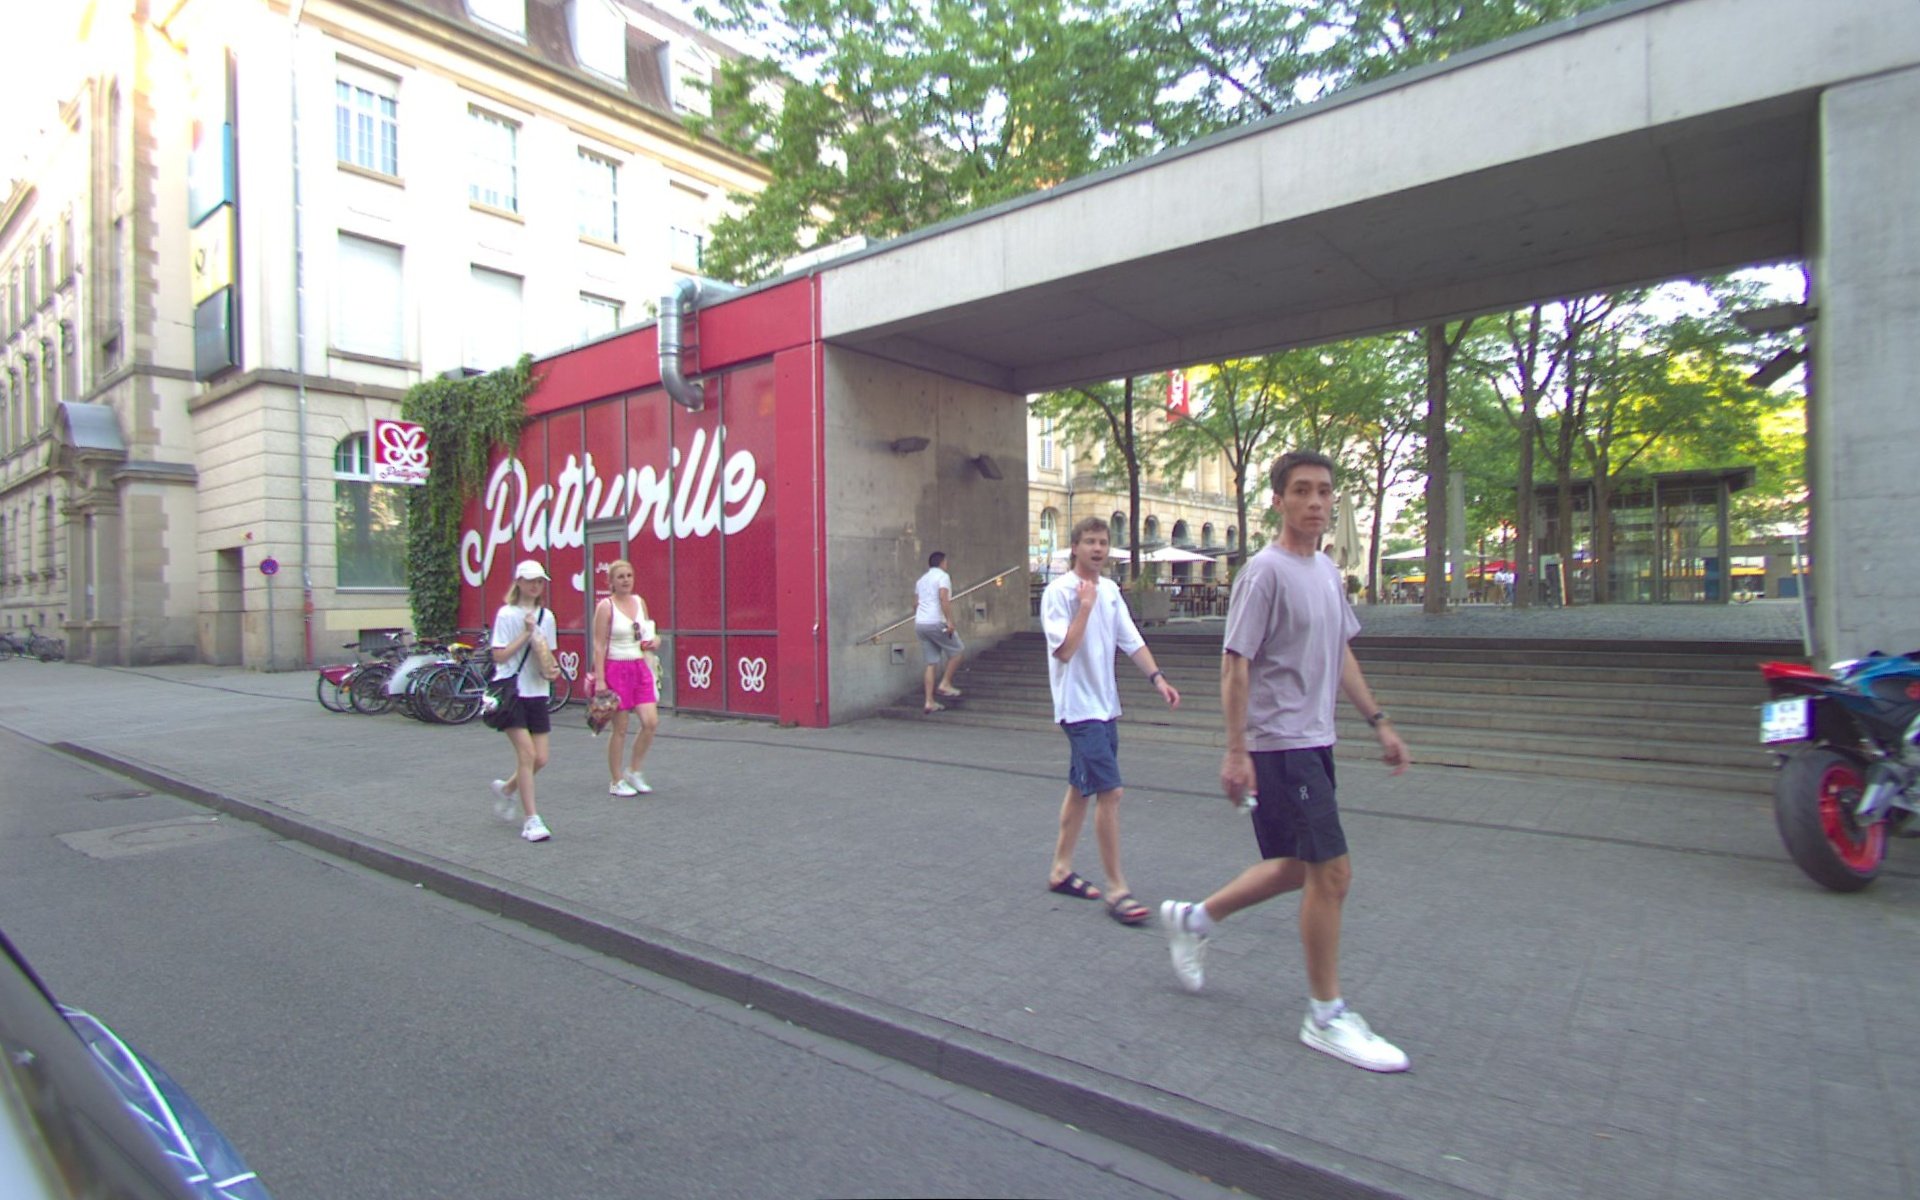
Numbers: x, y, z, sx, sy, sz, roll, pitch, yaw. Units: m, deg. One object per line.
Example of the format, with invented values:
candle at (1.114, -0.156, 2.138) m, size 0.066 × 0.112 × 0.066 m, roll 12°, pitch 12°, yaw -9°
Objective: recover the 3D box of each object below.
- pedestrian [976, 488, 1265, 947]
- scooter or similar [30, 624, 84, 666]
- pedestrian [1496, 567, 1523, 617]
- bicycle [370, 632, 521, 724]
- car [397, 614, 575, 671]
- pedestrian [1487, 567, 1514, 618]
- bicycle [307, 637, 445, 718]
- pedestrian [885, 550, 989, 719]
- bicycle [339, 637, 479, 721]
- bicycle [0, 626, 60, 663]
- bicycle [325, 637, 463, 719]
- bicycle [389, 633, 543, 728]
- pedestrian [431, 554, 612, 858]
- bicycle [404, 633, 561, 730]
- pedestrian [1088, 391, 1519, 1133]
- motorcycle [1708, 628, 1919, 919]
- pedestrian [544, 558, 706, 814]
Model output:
pedestrian at (0.731, 0.463, 4.616) m, size 1.007 × 1.826 × 0.734 m, roll -2°, pitch 1°, yaw 39°
scooter or similar at (-27.925, 1.383, 31.313) m, size 0.494 × 1.242 × 1.126 m, roll -2°, pitch 0°, yaw 27°
pedestrian at (25.892, -0.363, 47.654) m, size 0.802 × 2.348 × 0.741 m, roll 0°, pitch -1°, yaw -29°
bicycle at (-7.063, 1.043, 13.971) m, size 0.500 × 1.116 × 1.775 m, roll -2°, pitch 0°, yaw 42°
car at (-12.641, 1.106, 27.171) m, size 1.748 × 1.381 × 3.966 m, roll -2°, pitch -1°, yaw 38°
pedestrian at (25.145, -0.359, 47.101) m, size 0.802 × 2.348 × 0.741 m, roll 0°, pitch -1°, yaw -28°
bicycle at (-8.972, 1.162, 15.614) m, size 0.499 × 1.116 × 1.777 m, roll -2°, pitch 0°, yaw 39°
pedestrian at (-0.250, 0.359, 11.131) m, size 0.719 × 1.767 × 0.836 m, roll -2°, pitch -1°, yaw 43°
bicycle at (-8.211, 1.143, 15.154) m, size 0.499 × 1.116 × 1.777 m, roll -2°, pitch 0°, yaw 38°
bicycle at (-31.092, 1.458, 33.413) m, size 0.616 × 1.069 × 1.928 m, roll -1°, pitch 3°, yaw 24°
bicycle at (-8.626, 1.155, 15.493) m, size 0.499 × 1.116 × 1.777 m, roll -2°, pitch 0°, yaw 38°
bicycle at (-6.586, 1.034, 13.556) m, size 0.500 × 1.116 × 1.775 m, roll -2°, pitch 0°, yaw 42°
pedestrian at (-2.793, 0.623, 6.430) m, size 0.984 × 1.763 × 0.642 m, roll -2°, pitch -1°, yaw 39°
bicycle at (-6.220, 1.025, 13.262) m, size 0.500 × 1.116 × 1.775 m, roll -2°, pitch 0°, yaw 42°
pedestrian at (1.084, 0.420, 3.226) m, size 1.049 × 1.908 × 0.736 m, roll -2°, pitch 0°, yaw 40°
motorcycle at (4.471, 0.713, 4.756) m, size 1.775 × 1.072 × 0.767 m, roll -2°, pitch 0°, yaw -25°
pedestrian at (-2.489, 0.590, 7.528) m, size 0.845 × 1.763 × 0.745 m, roll -2°, pitch 0°, yaw 39°
